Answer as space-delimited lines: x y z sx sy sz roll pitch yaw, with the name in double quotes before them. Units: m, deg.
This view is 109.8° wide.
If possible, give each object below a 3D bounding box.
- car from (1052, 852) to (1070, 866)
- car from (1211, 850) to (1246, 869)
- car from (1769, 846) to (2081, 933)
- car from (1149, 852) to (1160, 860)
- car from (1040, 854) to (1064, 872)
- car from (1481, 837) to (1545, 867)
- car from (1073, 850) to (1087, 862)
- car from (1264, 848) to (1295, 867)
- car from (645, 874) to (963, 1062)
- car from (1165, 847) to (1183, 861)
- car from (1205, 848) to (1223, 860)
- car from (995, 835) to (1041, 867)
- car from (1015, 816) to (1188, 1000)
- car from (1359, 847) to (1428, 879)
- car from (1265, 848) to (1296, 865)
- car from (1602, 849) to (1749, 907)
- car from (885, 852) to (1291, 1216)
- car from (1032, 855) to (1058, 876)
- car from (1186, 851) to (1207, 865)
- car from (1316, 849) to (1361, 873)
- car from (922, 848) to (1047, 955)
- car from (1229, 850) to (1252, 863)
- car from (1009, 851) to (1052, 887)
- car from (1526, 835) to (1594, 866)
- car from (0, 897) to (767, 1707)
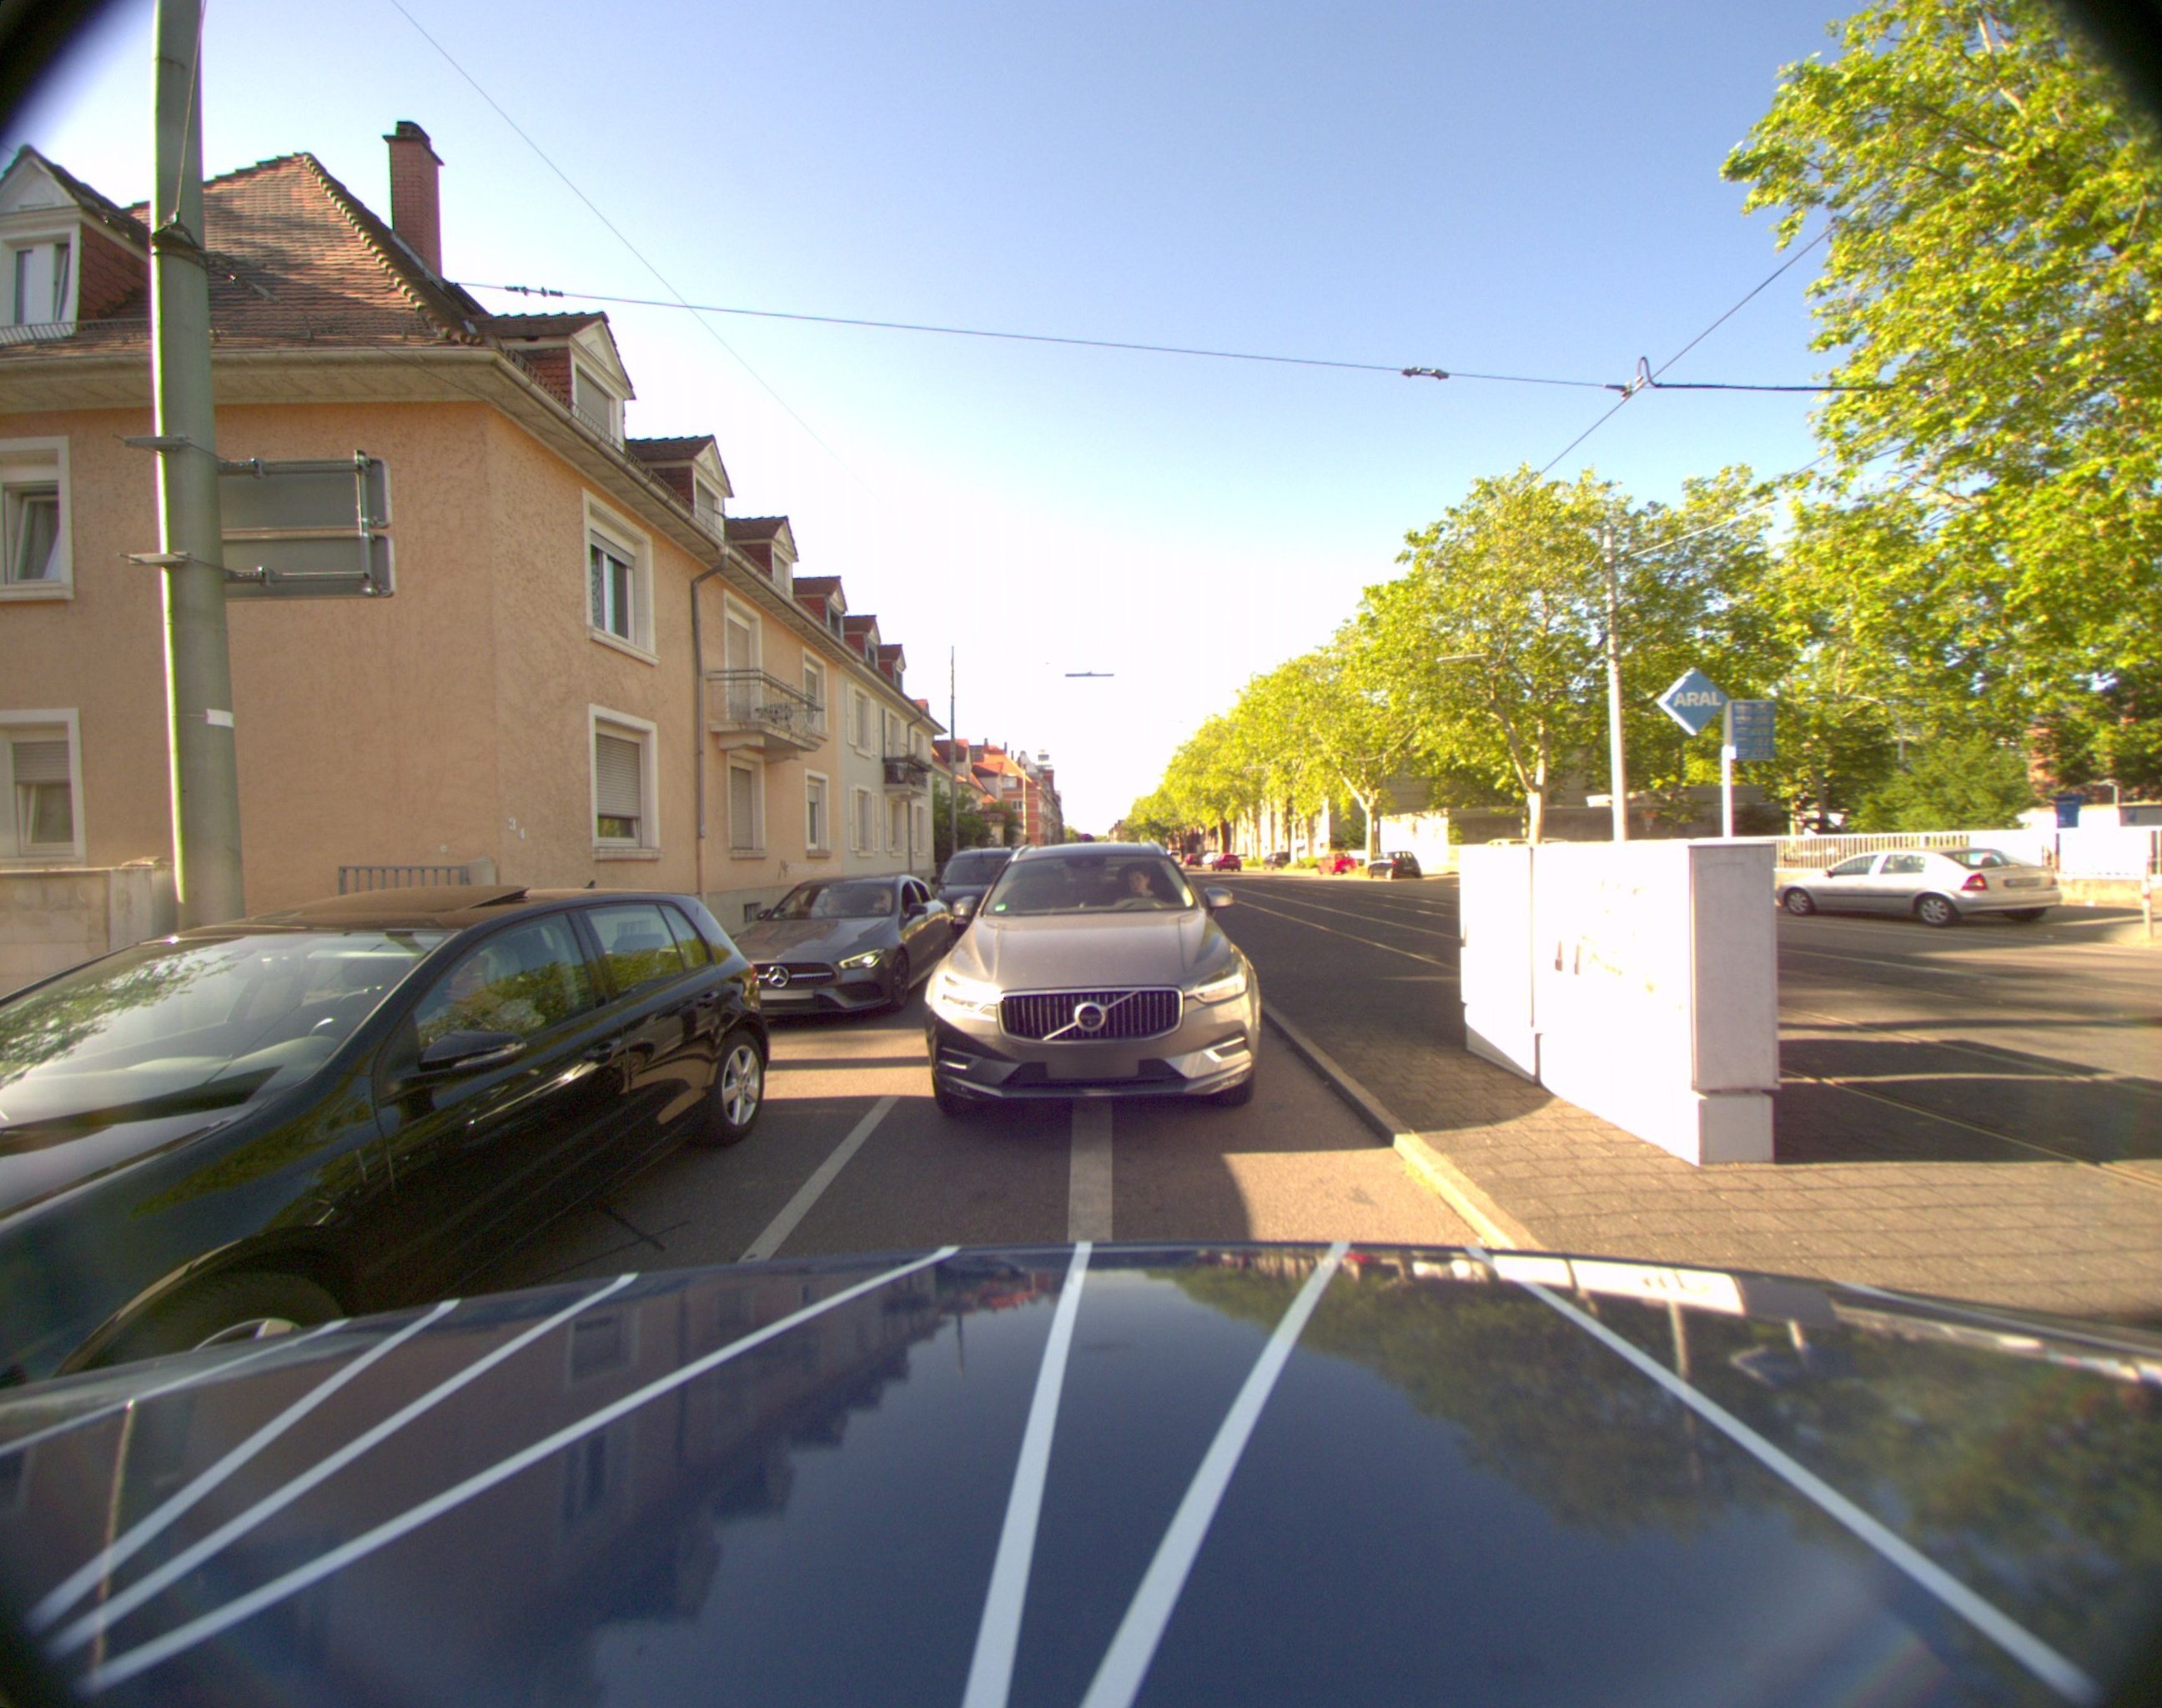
"car" -2.183 0.574 85.431 1.841 1.449 3.999 -2 1 1
"car" 12.122 0.443 62.657 1.912 1.514 4.763 0 1 0
"car" 16.208 0.591 14.963 1.731 1.412 3.999 -2 1 1
"car" 13.884 0.394 143.483 1.764 1.487 3.999 -2 1 1
"car" -2.532 0.795 66.994 1.841 1.449 3.999 -2 1 1
"car" 21.718 -0.118 38.301 1.545 1.412 3.151 -2 1 4
"car" -0.161 0.260 106.484 1.841 1.449 3.999 -2 1 1
"car" 17.167 0.312 65.990 1.700 1.566 3.999 -1 1 1
"car" -2.782 1.065 8.914 1.911 1.411 4.492 -2 1 2
"car" 12.925 -0.047 106.094 1.850 1.835 4.394 -1 1 -1
"car" 17.662 -0.002 100.779 1.700 1.548 3.999 -1 1 1
"car" -3.004 -0.160 36.997 1.841 1.449 3.999 -2 1 1
"car" 0.239 0.592 11.118 1.912 2.048 4.763 -2 1 0
"car" 16.885 0.428 41.256 1.753 1.514 4.434 -5 1 -1
"car" 17.285 0.219 65.910 1.700 1.401 3.999 -1 1 1
"car" 16.418 0.601 21.171 1.546 1.412 3.254 -2 1 1
"car" 0.041 0.875 6.077 1.912 1.666 4.763 -2 1 0
"car" -2.827 0.878 60.585 1.841 1.449 3.999 -2 1 1
"car" 12.920 0.389 85.234 1.700 1.412 3.999 3 1 1
"car" 17.037 0.440 50.435 1.700 1.460 3.999 -1 1 1
"car" -1.816 0.828 15.850 1.866 1.794 4.778 -2 1 1
"car" 17.515 0.241 83.518 1.700 1.401 3.999 -1 1 1
"car" -2.904 0.800 45.066 1.937 1.888 7.210 -2 1 1
"car" 23.822 -0.192 37.883 1.545 1.412 3.151 -2 1 4
"car" -2.827 1.001 2.596 1.733 1.499 4.051 -2 -1 1
